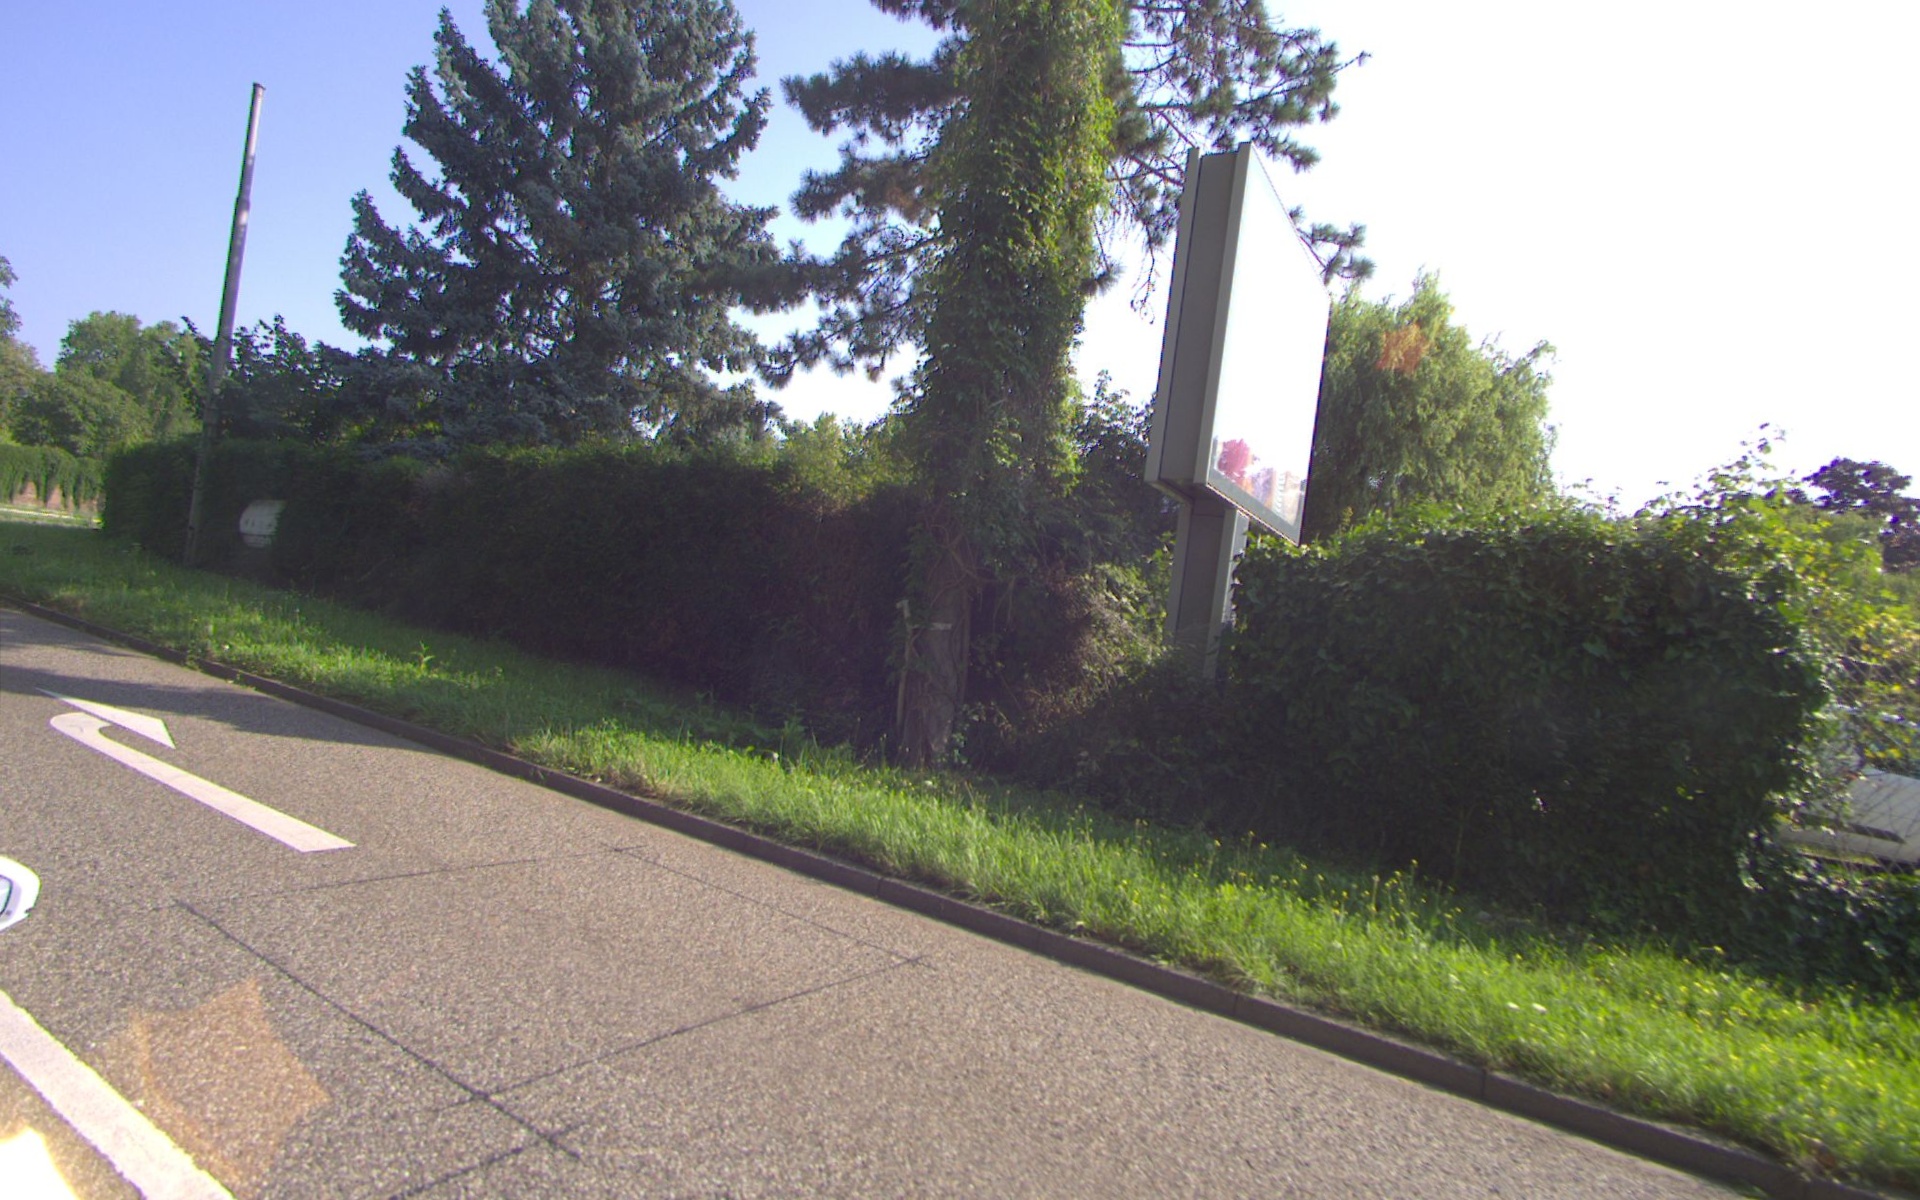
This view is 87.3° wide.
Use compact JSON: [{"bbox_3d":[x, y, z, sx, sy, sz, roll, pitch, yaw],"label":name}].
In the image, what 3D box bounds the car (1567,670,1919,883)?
[{"bbox_3d":[10.547,2.221,12.737,4.586,1.947,1.751,8,-1,28],"label":"car"}]
